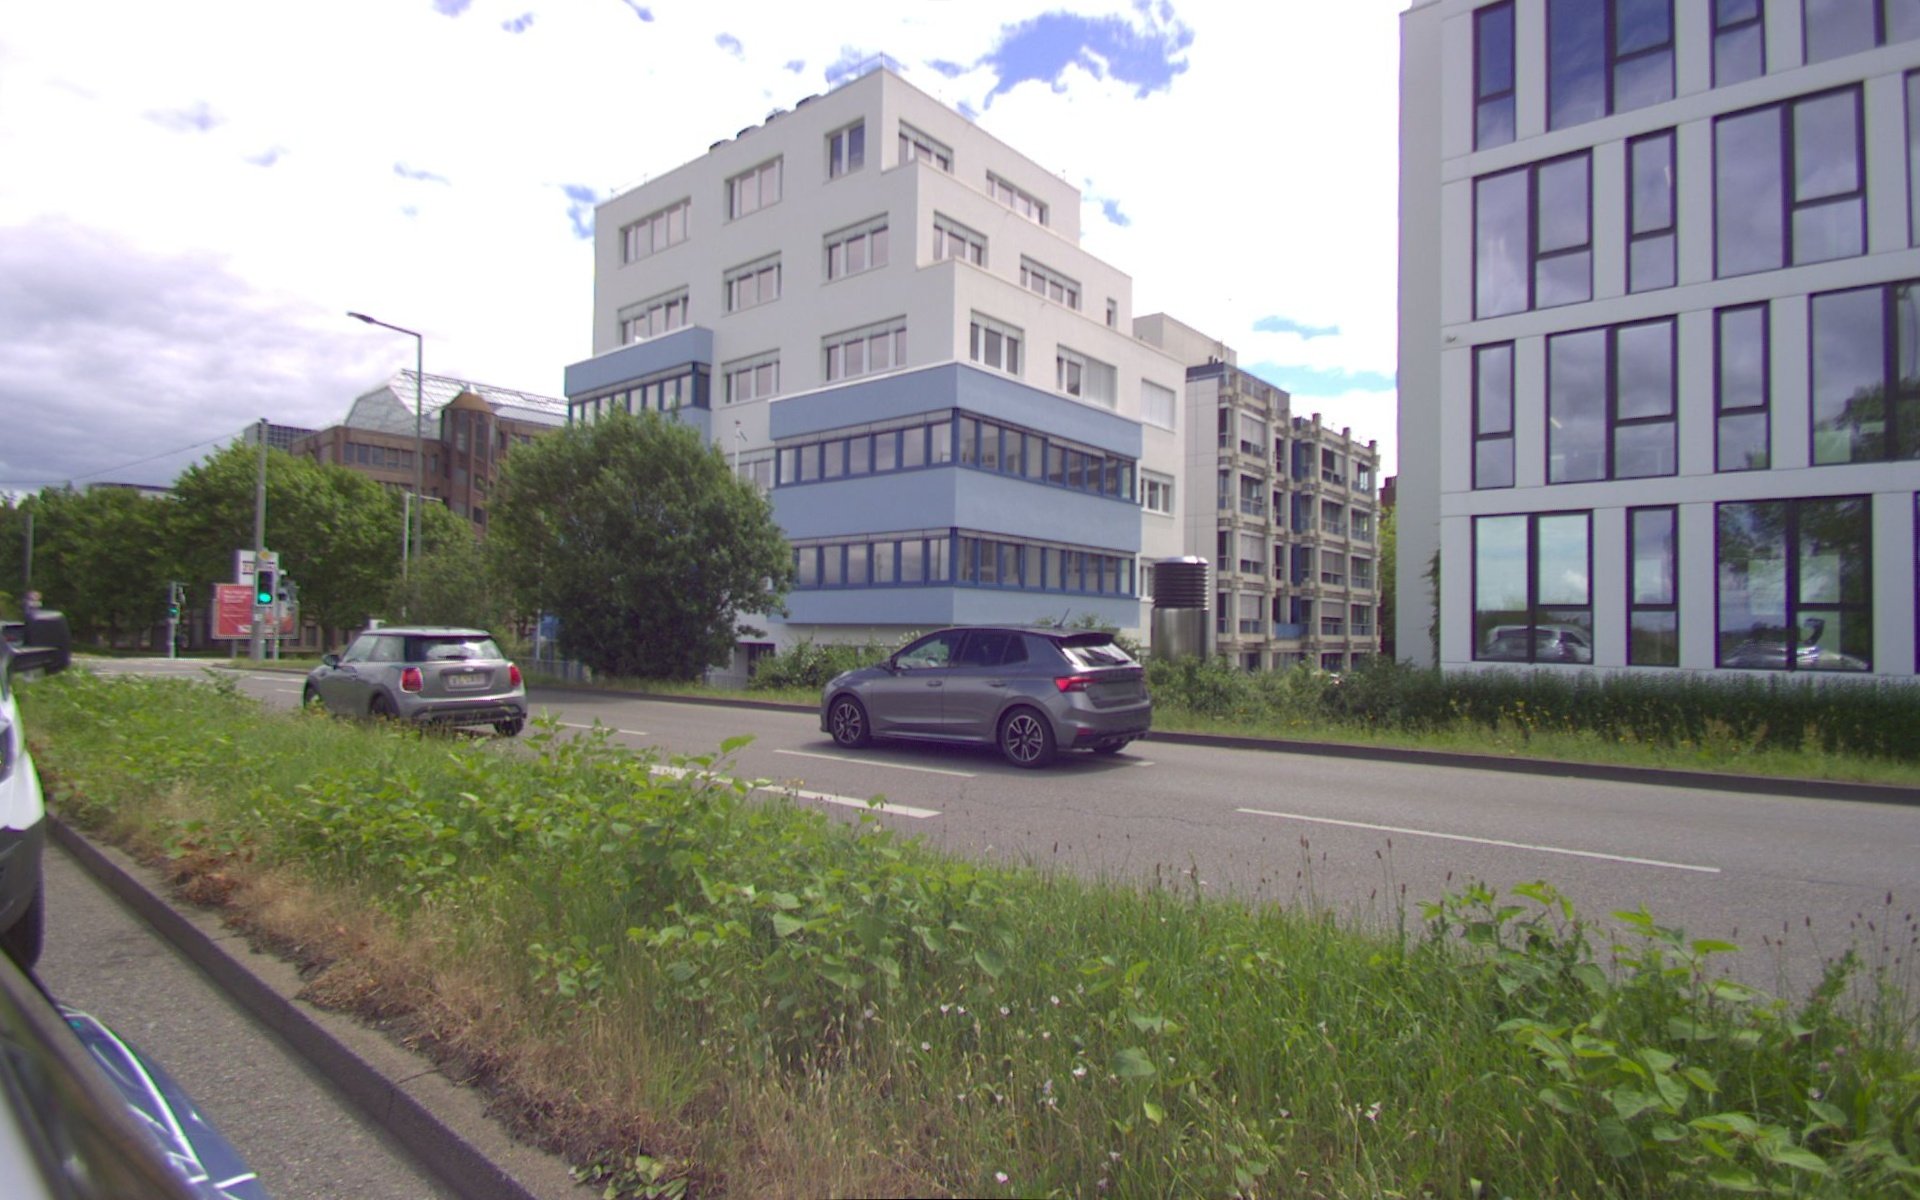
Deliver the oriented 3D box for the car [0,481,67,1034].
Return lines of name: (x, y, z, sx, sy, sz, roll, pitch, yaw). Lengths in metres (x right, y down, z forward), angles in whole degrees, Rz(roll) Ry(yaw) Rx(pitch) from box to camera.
car: (-5.825, 0.604, 4.666, 5.052, 1.965, 1.942, -2, -1, 41)

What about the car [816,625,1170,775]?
car: (0.259, 0.987, 11.224, 3.776, 1.393, 1.538, -2, -2, 39)

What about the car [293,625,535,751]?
car: (-7.326, 1.055, 13.454, 3.633, 1.441, 1.671, -1, -2, 41)

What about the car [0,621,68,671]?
car: (-32.742, 1.567, 35.446, 4.041, 1.614, 1.678, -1, -2, 40)
